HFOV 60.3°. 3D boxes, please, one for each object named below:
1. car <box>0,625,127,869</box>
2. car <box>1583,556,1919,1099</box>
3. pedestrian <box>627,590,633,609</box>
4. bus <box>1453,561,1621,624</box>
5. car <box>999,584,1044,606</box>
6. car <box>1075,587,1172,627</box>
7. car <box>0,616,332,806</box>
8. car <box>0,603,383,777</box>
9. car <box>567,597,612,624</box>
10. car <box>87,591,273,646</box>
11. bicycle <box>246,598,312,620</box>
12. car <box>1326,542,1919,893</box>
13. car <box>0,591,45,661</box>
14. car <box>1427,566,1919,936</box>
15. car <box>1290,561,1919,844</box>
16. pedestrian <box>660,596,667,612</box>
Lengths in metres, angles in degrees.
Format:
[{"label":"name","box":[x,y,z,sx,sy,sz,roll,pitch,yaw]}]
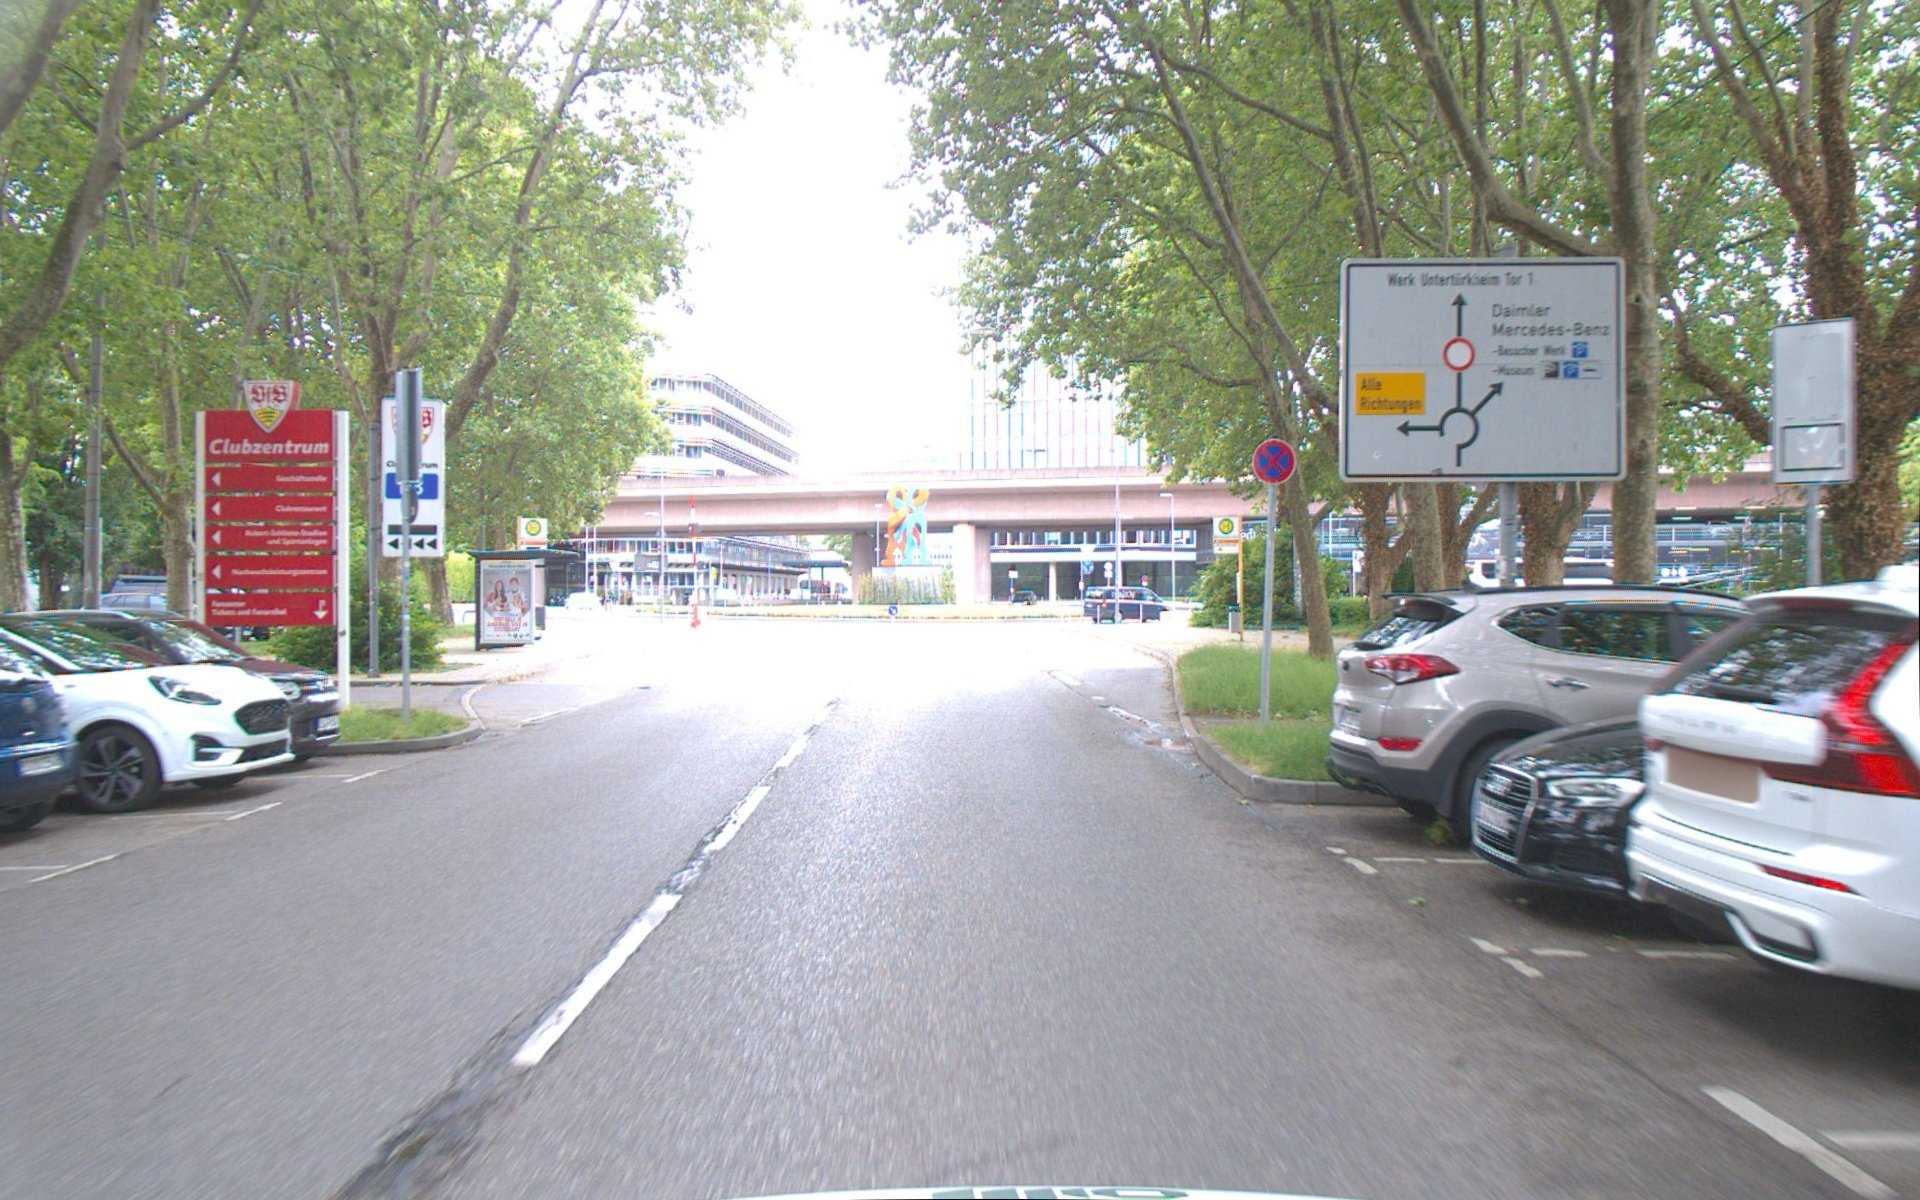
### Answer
[{"label":"car","box":[-8.017,0.926,11.083,3.913,1.520,1.832,0,0,-1]},{"label":"car","box":[4.788,0.727,6.066,4.257,1.662,1.925,1,1,-1]},{"label":"pedestrian","box":[-34.392,-0.054,172.427,0.578,2.049,0.597,1,-1,-12]},{"label":"bus","box":[38.147,-0.447,109.332,10.862,4.003,2.748,1,0,-15]},{"label":"car","box":[5.253,-0.405,140.824,1.960,1.803,3.985,0,0,35]},{"label":"car","box":[8.651,0.399,87.450,4.723,2.049,2.258,1,0,-33]},{"label":"car","box":[-7.515,0.852,13.627,3.910,1.409,1.912,0,0,2]},{"label":"car","box":[-7.878,0.826,16.031,3.912,1.567,1.805,0,0,0]},{"label":"car","box":[-21.739,0.603,97.105,1.864,1.478,4.810,-2,1,-5]},{"label":"car","box":[-23.264,0.562,49.458,4.530,1.595,2.109,0,-1,1]},{"label":"bicycle","box":[-36.398,0.477,88.443,3.129,1.116,0.770,1,-1,-16]},{"label":"car","box":[4.610,0.701,10.913,3.906,2.049,2.000,1,1,-1]},{"label":"car","box":[-23.446,0.571,37.796,3.906,1.549,2.001,0,0,-1]},{"label":"car","box":[4.794,0.695,8.432,4.257,1.633,1.925,1,1,-1]},{"label":"car","box":[4.536,0.621,11.047,4.257,1.662,1.925,1,1,-1]},{"label":"pedestrian","box":[-38.302,0.508,213.556,0.760,2.049,0.671,-2,0,-1]}]
